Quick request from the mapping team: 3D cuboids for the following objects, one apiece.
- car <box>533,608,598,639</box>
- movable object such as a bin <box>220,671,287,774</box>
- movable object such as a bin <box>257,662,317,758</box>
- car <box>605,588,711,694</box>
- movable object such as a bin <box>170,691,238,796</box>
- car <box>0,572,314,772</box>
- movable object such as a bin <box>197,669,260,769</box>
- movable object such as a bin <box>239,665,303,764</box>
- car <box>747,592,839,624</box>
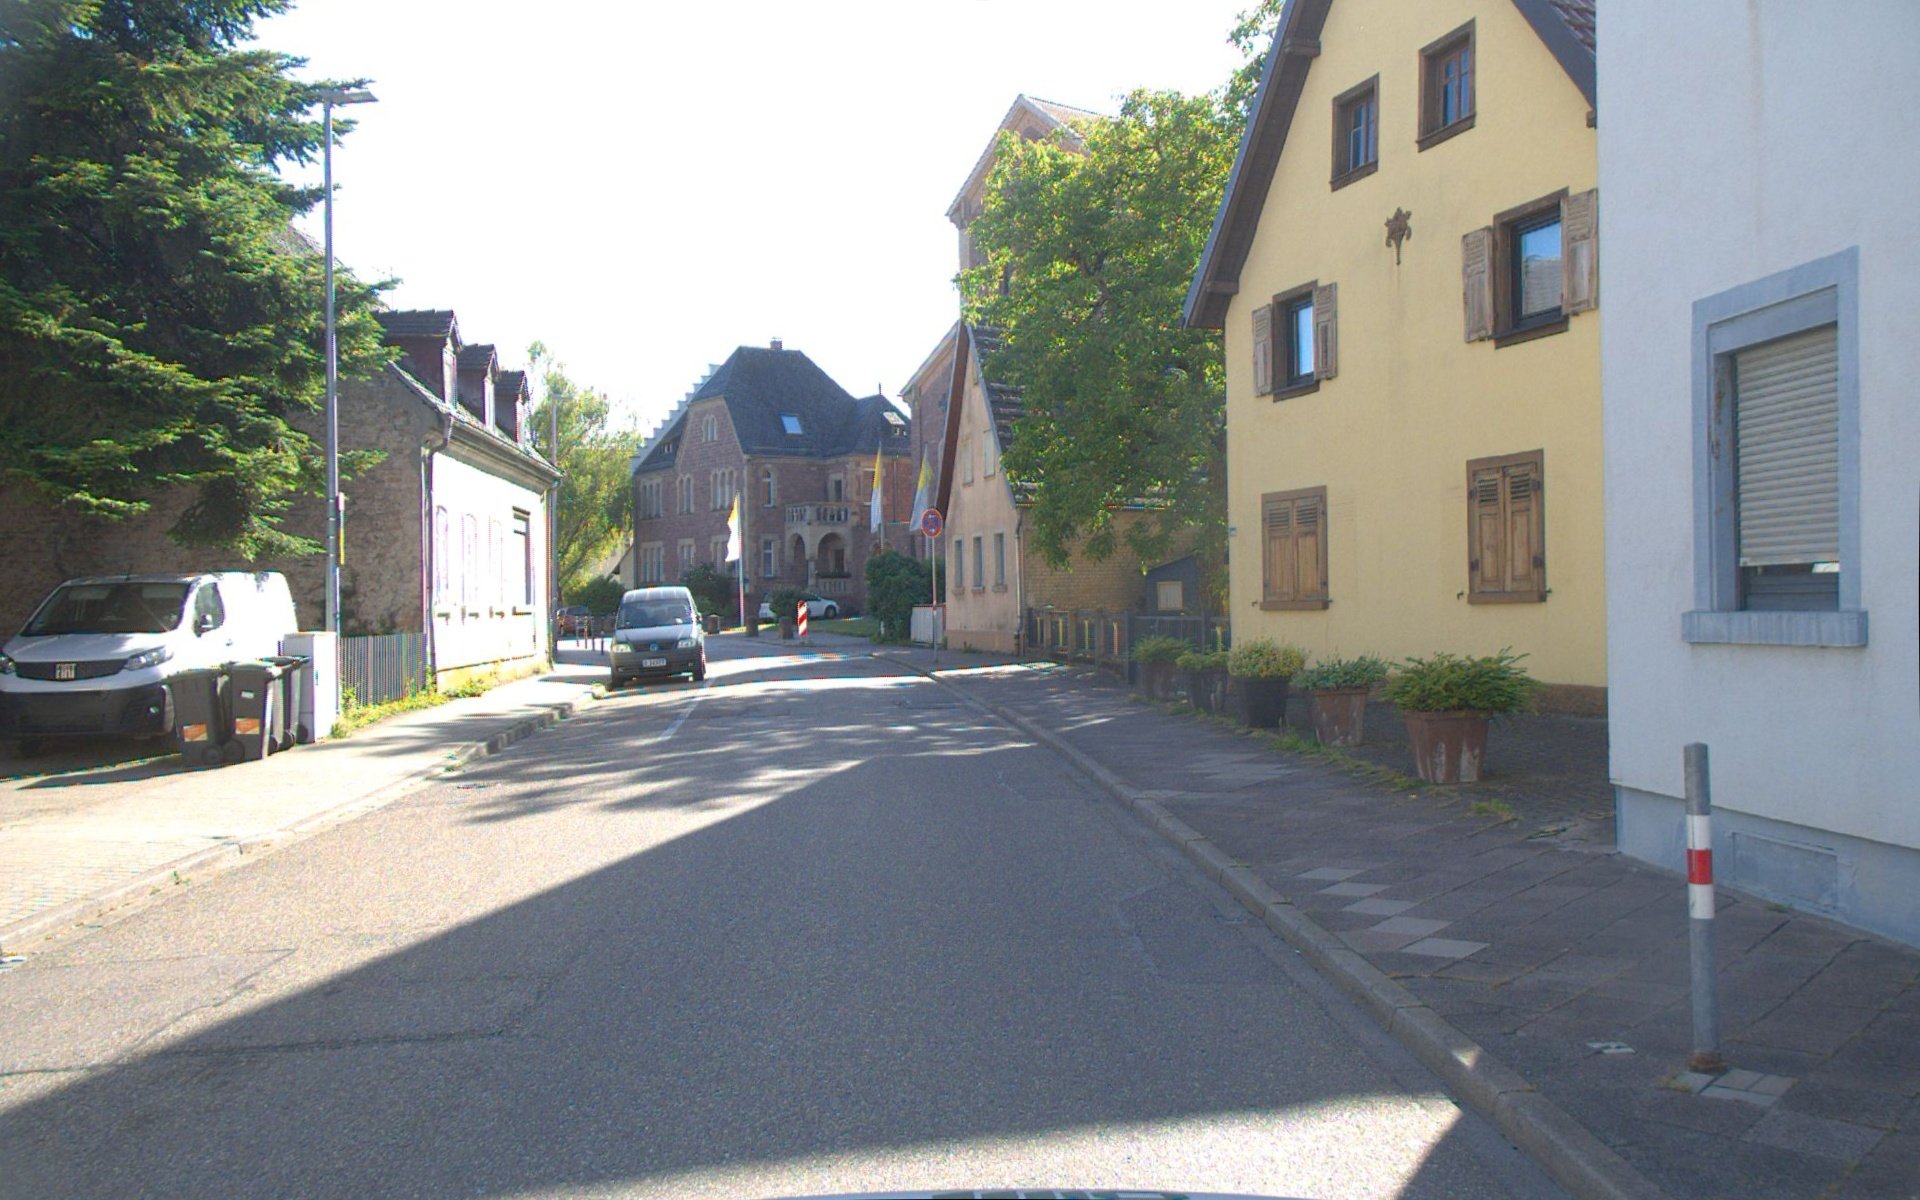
[{"bbox_3d":[-19.611,1.169,82.189,1.699,1.425,4.194,-2,0,-35],"label":"car"},{"bbox_3d":[-6.934,1.194,16.255,0.431,0.940,0.490,-2,2,-5],"label":"movable object such as a bin"},{"bbox_3d":[-7.015,1.138,17.253,0.412,0.940,0.490,-2,2,-5],"label":"movable object such as a bin"},{"bbox_3d":[-5.923,0.754,32.816,1.792,1.845,4.194,-3,0,-8],"label":"car"},{"bbox_3d":[-7.368,1.392,16.132,0.412,0.940,0.490,-2,2,-5],"label":"movable object such as a bin"},{"bbox_3d":[-9.298,0.700,19.347,1.903,1.989,5.135,-1,1,-6],"label":"car"},{"bbox_3d":[-7.399,1.200,16.742,0.412,0.940,0.490,-2,2,-5],"label":"movable object such as a bin"},{"bbox_3d":[-6.974,1.151,16.755,0.420,0.940,0.490,-2,2,-5],"label":"movable object such as a bin"},{"bbox_3d":[-8.069,0.378,80.126,4.204,1.425,1.695,-2,-1,-38],"label":"car"}]
